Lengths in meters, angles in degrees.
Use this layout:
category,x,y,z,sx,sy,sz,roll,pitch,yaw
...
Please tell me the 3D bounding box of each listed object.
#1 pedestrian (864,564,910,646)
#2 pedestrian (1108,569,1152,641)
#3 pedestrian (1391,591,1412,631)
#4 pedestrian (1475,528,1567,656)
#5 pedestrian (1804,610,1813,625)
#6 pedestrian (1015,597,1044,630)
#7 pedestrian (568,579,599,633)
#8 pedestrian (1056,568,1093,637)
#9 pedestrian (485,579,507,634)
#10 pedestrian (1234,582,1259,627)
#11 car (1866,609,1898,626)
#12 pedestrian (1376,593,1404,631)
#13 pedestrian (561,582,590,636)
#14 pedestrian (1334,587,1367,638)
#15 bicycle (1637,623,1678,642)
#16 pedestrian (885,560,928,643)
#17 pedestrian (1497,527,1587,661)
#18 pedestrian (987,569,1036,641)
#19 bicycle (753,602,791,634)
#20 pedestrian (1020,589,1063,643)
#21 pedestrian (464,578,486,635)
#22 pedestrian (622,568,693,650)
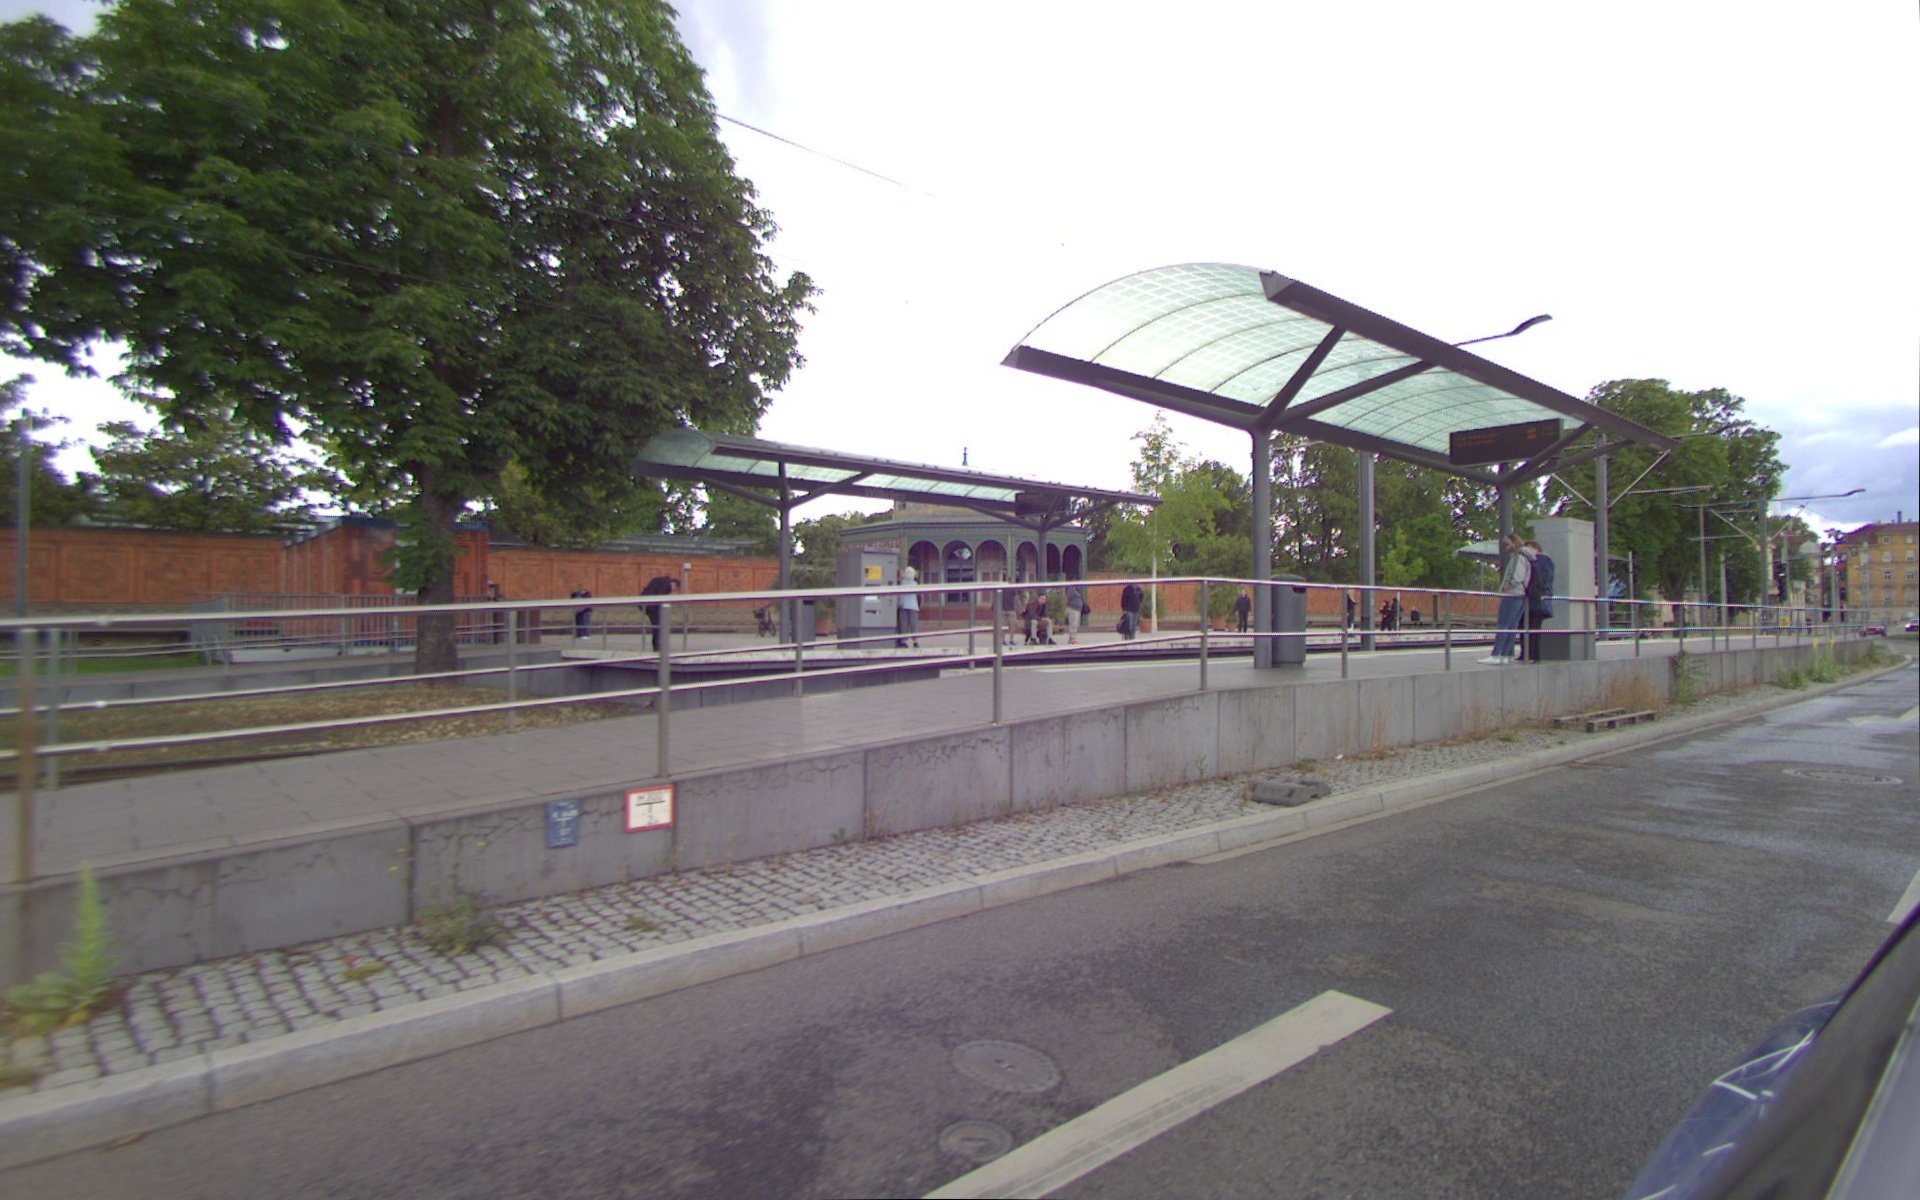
category,x,y,z,sx,sy,sz,roll,pitch,yaw
pedestrian,-1.558,0.122,21.685,0.665,1.699,0.674,1,-4,-44
pedestrian,4.529,0.146,26.904,0.933,1.862,0.633,1,-4,-39
pedestrian,18.830,0.453,43.186,0.616,1.682,0.487,0,-4,-32
pedestrian,7.207,-0.072,13.005,0.760,1.574,0.751,3,-6,-39
pedestrian,98.284,2.007,117.194,0.920,1.790,0.671,1,-2,-42
pedestrian,1.675,0.327,24.475,0.416,0.750,0.563,0,-3,-31
pedestrian,-11.367,0.186,30.533,0.652,1.604,0.614,-4,-4,36
pedestrian,2.786,0.059,24.687,0.663,1.641,0.525,1,-4,-39
pedestrian,-13.028,0.191,28.407,0.451,1.507,0.486,0,-4,-38
pedestrian,12.053,0.197,42.568,0.547,1.862,0.937,-5,-4,42
car,82.254,1.578,90.281,4.048,1.461,1.678,1,-4,-42
pedestrian,18.722,0.513,44.046,0.757,1.621,0.742,0,-3,-32
pedestrian,-11.806,0.280,31.100,0.582,1.604,0.615,-4,-4,37
pedestrian,13.306,0.439,34.483,0.851,1.709,0.633,1,-4,-41
bicycle,44.036,2.034,63.884,0.727,1.173,1.997,1,-2,-36
pedestrian,-1.109,0.041,21.114,0.664,1.699,0.544,1,-4,-44
pedestrian,7.774,-0.050,13.521,0.718,1.722,0.772,3,-6,-39
pedestrian,1.259,0.137,24.649,0.858,1.699,0.750,-4,-4,39
bicycle,-6.534,0.642,35.248,0.557,1.075,1.705,-3,-3,18
pedestrian,1.856,0.366,23.129,0.663,1.207,0.658,0,-4,-39
pedestrian,-13.557,0.179,28.269,0.451,1.555,0.486,0,-4,-38
pedestrian,-5.157,0.163,17.281,0.951,1.341,0.674,1,-4,-42
